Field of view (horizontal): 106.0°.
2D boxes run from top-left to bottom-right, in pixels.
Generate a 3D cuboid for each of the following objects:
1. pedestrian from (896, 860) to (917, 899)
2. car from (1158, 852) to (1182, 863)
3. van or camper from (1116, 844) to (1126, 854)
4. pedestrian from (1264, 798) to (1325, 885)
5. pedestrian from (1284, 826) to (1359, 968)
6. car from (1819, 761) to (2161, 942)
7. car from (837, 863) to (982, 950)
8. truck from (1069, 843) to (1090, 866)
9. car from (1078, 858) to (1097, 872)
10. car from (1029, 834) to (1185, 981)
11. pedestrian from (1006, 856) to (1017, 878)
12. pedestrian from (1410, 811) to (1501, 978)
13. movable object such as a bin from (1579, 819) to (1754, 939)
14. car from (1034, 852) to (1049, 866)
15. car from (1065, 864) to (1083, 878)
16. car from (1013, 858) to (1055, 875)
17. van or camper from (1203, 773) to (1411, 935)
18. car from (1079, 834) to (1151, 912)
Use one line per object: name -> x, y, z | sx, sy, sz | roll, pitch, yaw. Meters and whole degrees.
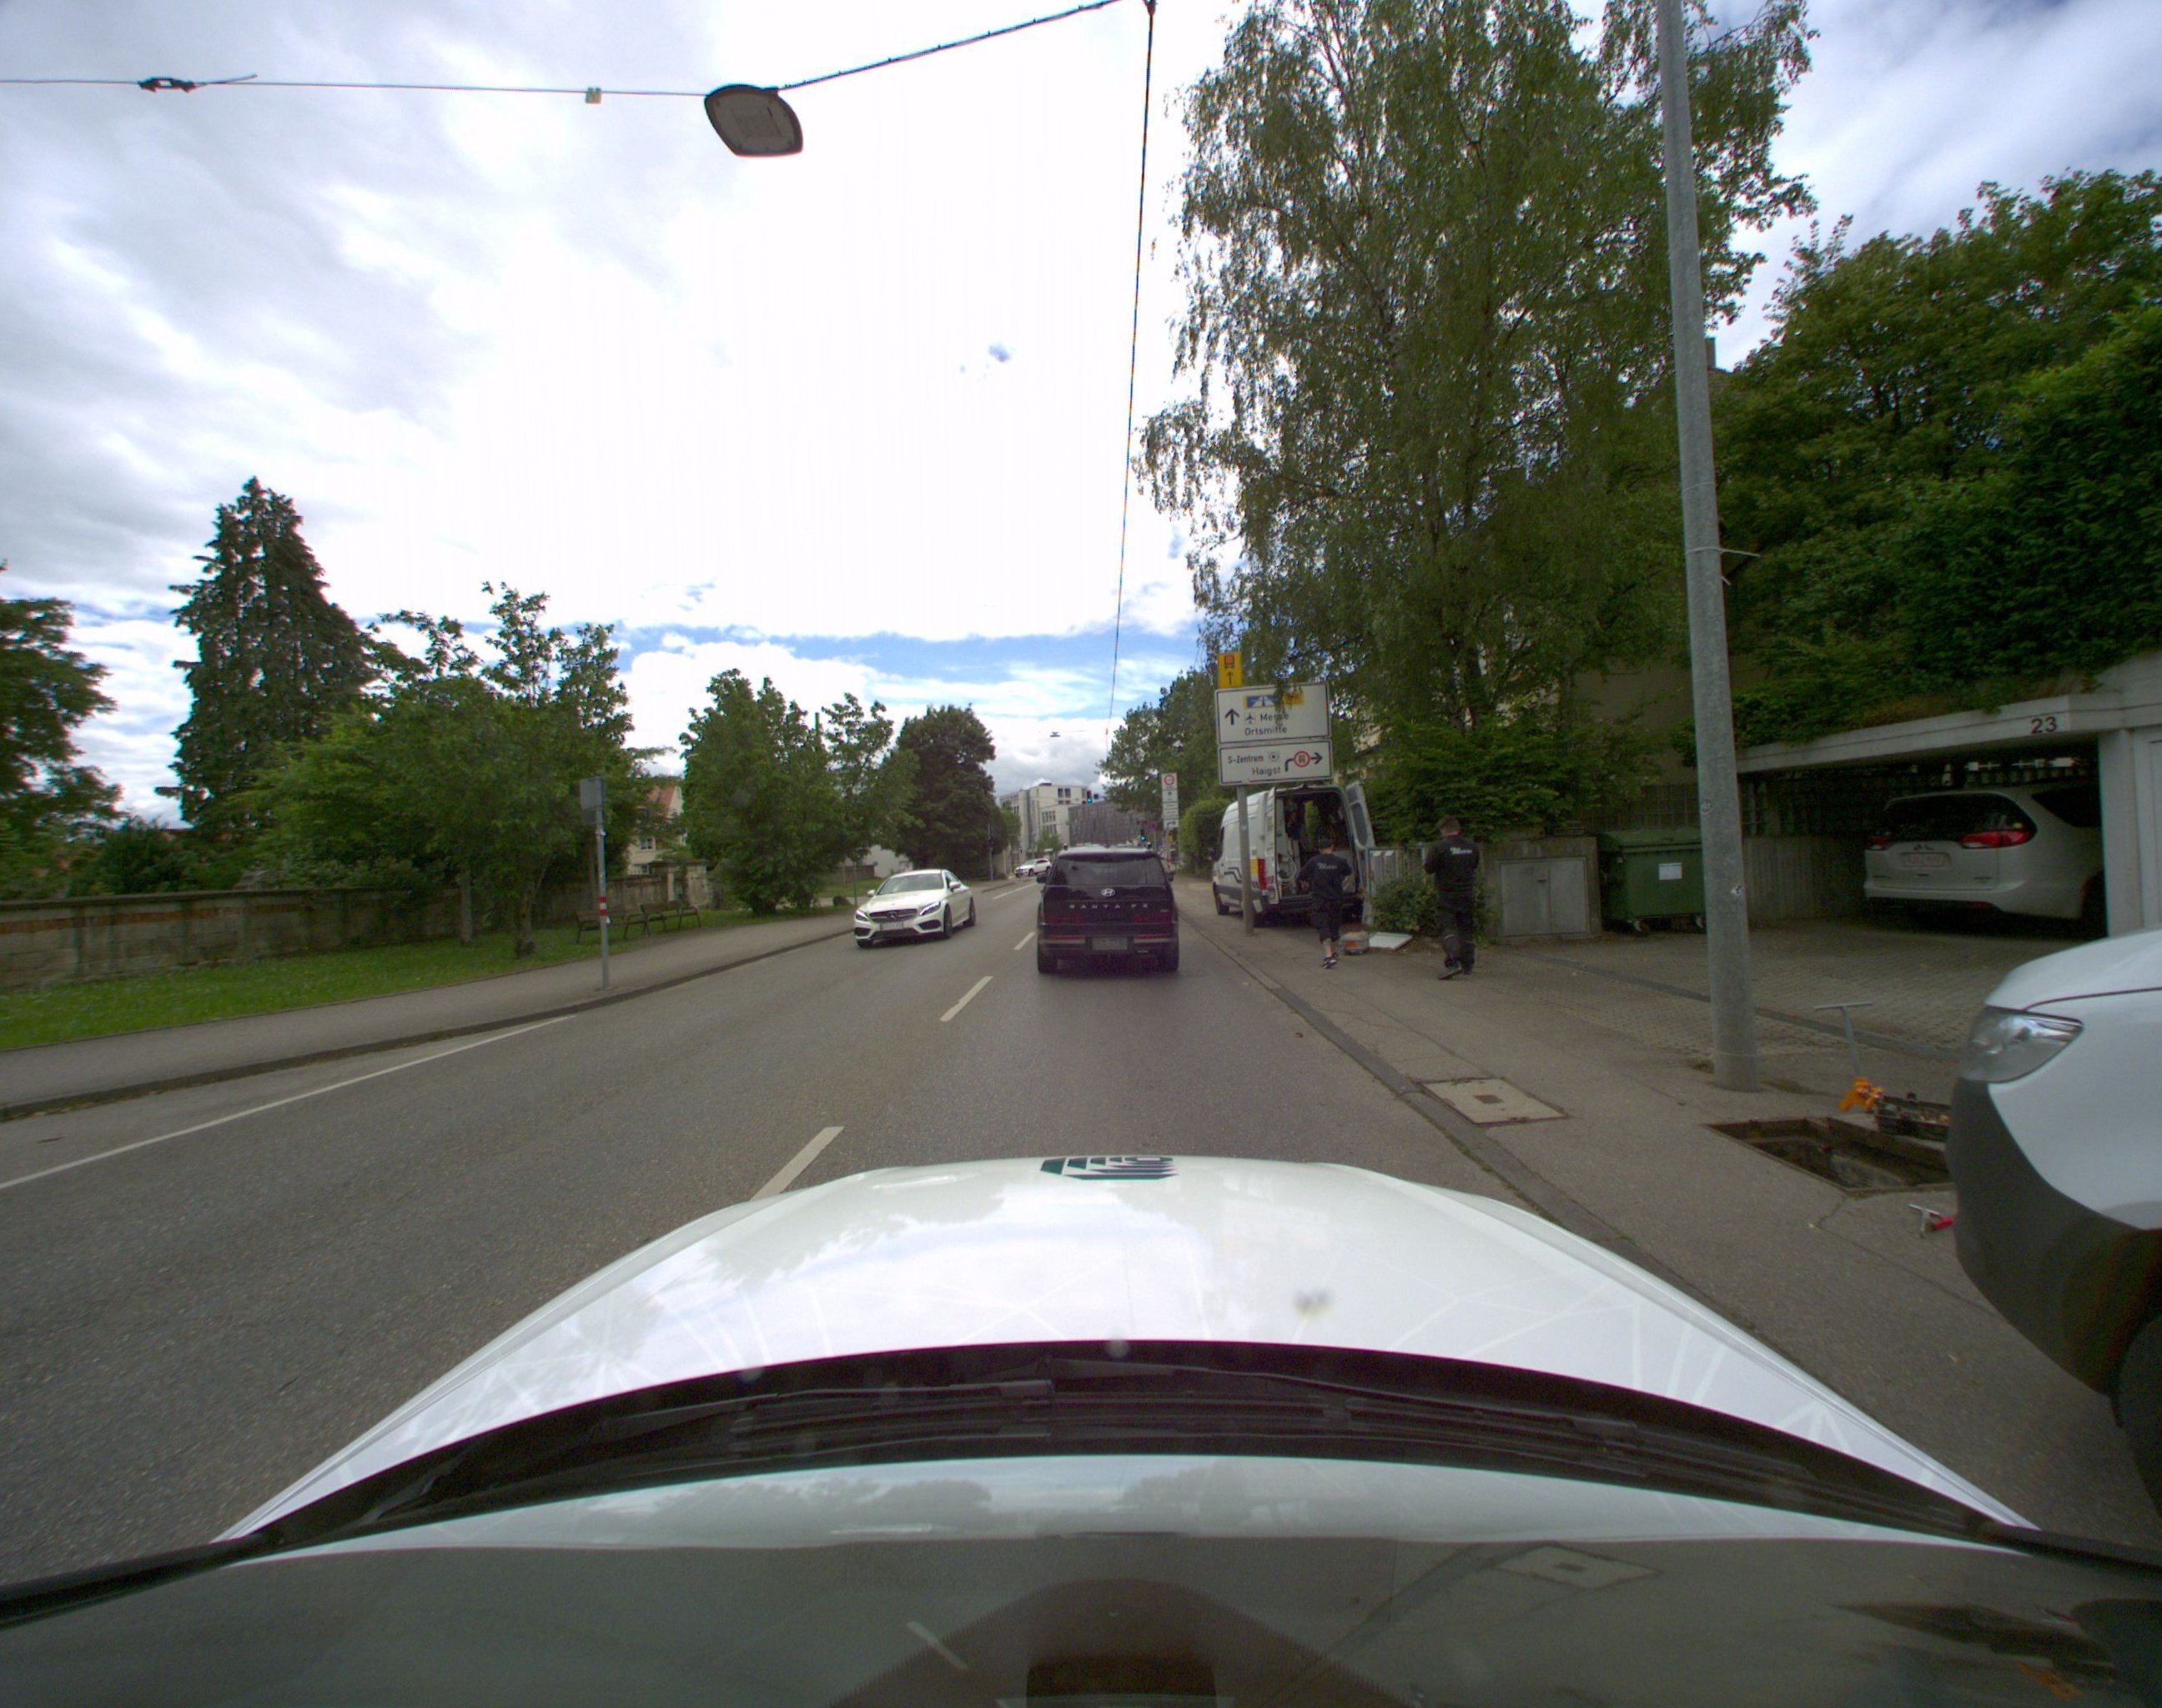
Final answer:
pedestrian -> -8.057, 1.174, 37.626 | 0.764, 1.748, 0.904 | -1, -1, 1
car -> 15.050, 0.625, 137.902 | 3.968, 1.584, 1.892 | -3, 0, 5
van or camper -> 8.016, -1.068, 164.222 | 1.791, 1.999, 3.821 | 0, -1, -2
pedestrian -> 4.204, -0.241, 16.048 | 0.740, 1.644, 0.794 | -3, -1, -26
pedestrian -> 3.121, 0.532, 10.536 | 0.743, 1.720, 0.796 | -5, 1, 21
car -> 11.636, -0.096, 9.601 | 3.974, 1.788, 2.000 | -4, 0, 0
car -> -3.461, 0.999, 17.432 | 1.808, 1.419, 4.830 | -5, -1, 2
truck -> -0.291, 0.107, 146.016 | 3.101, 3.859, 9.607 | -3, 0, -4
car -> 0.782, 1.387, 104.364 | 1.881, 1.638, 3.889 | -2, 0, -6
car -> 0.394, 0.667, 11.937 | 1.890, 1.776, 3.996 | 0, -1, 2
pedestrian -> -6.284, 1.190, 73.979 | 0.826, 2.014, 1.048 | 0, -1, 4
pedestrian -> 4.102, 0.432, 8.961 | 0.644, 1.751, 0.656 | -2, -1, 4
movable object such as a bin -> 8.079, 0.329, 11.335 | 1.415, 1.462, 1.298 | -4, 0, 1
car -> -6.582, 0.846, 136.012 | 2.328, 2.315, 4.950 | -3, 0, -4
car -> -0.829, 1.918, 93.157 | 1.880, 1.420, 3.994 | -3, 0, -4
car -> -4.831, 1.266, 83.702 | 1.820, 1.538, 4.295 | -2, 0, 39
van or camper -> 4.275, 0.064, 16.957 | 2.333, 2.494, 6.602 | -5, -1, 0
car -> 0.965, 0.507, 23.346 | 1.890, 2.042, 3.996 | 0, -1, 2
